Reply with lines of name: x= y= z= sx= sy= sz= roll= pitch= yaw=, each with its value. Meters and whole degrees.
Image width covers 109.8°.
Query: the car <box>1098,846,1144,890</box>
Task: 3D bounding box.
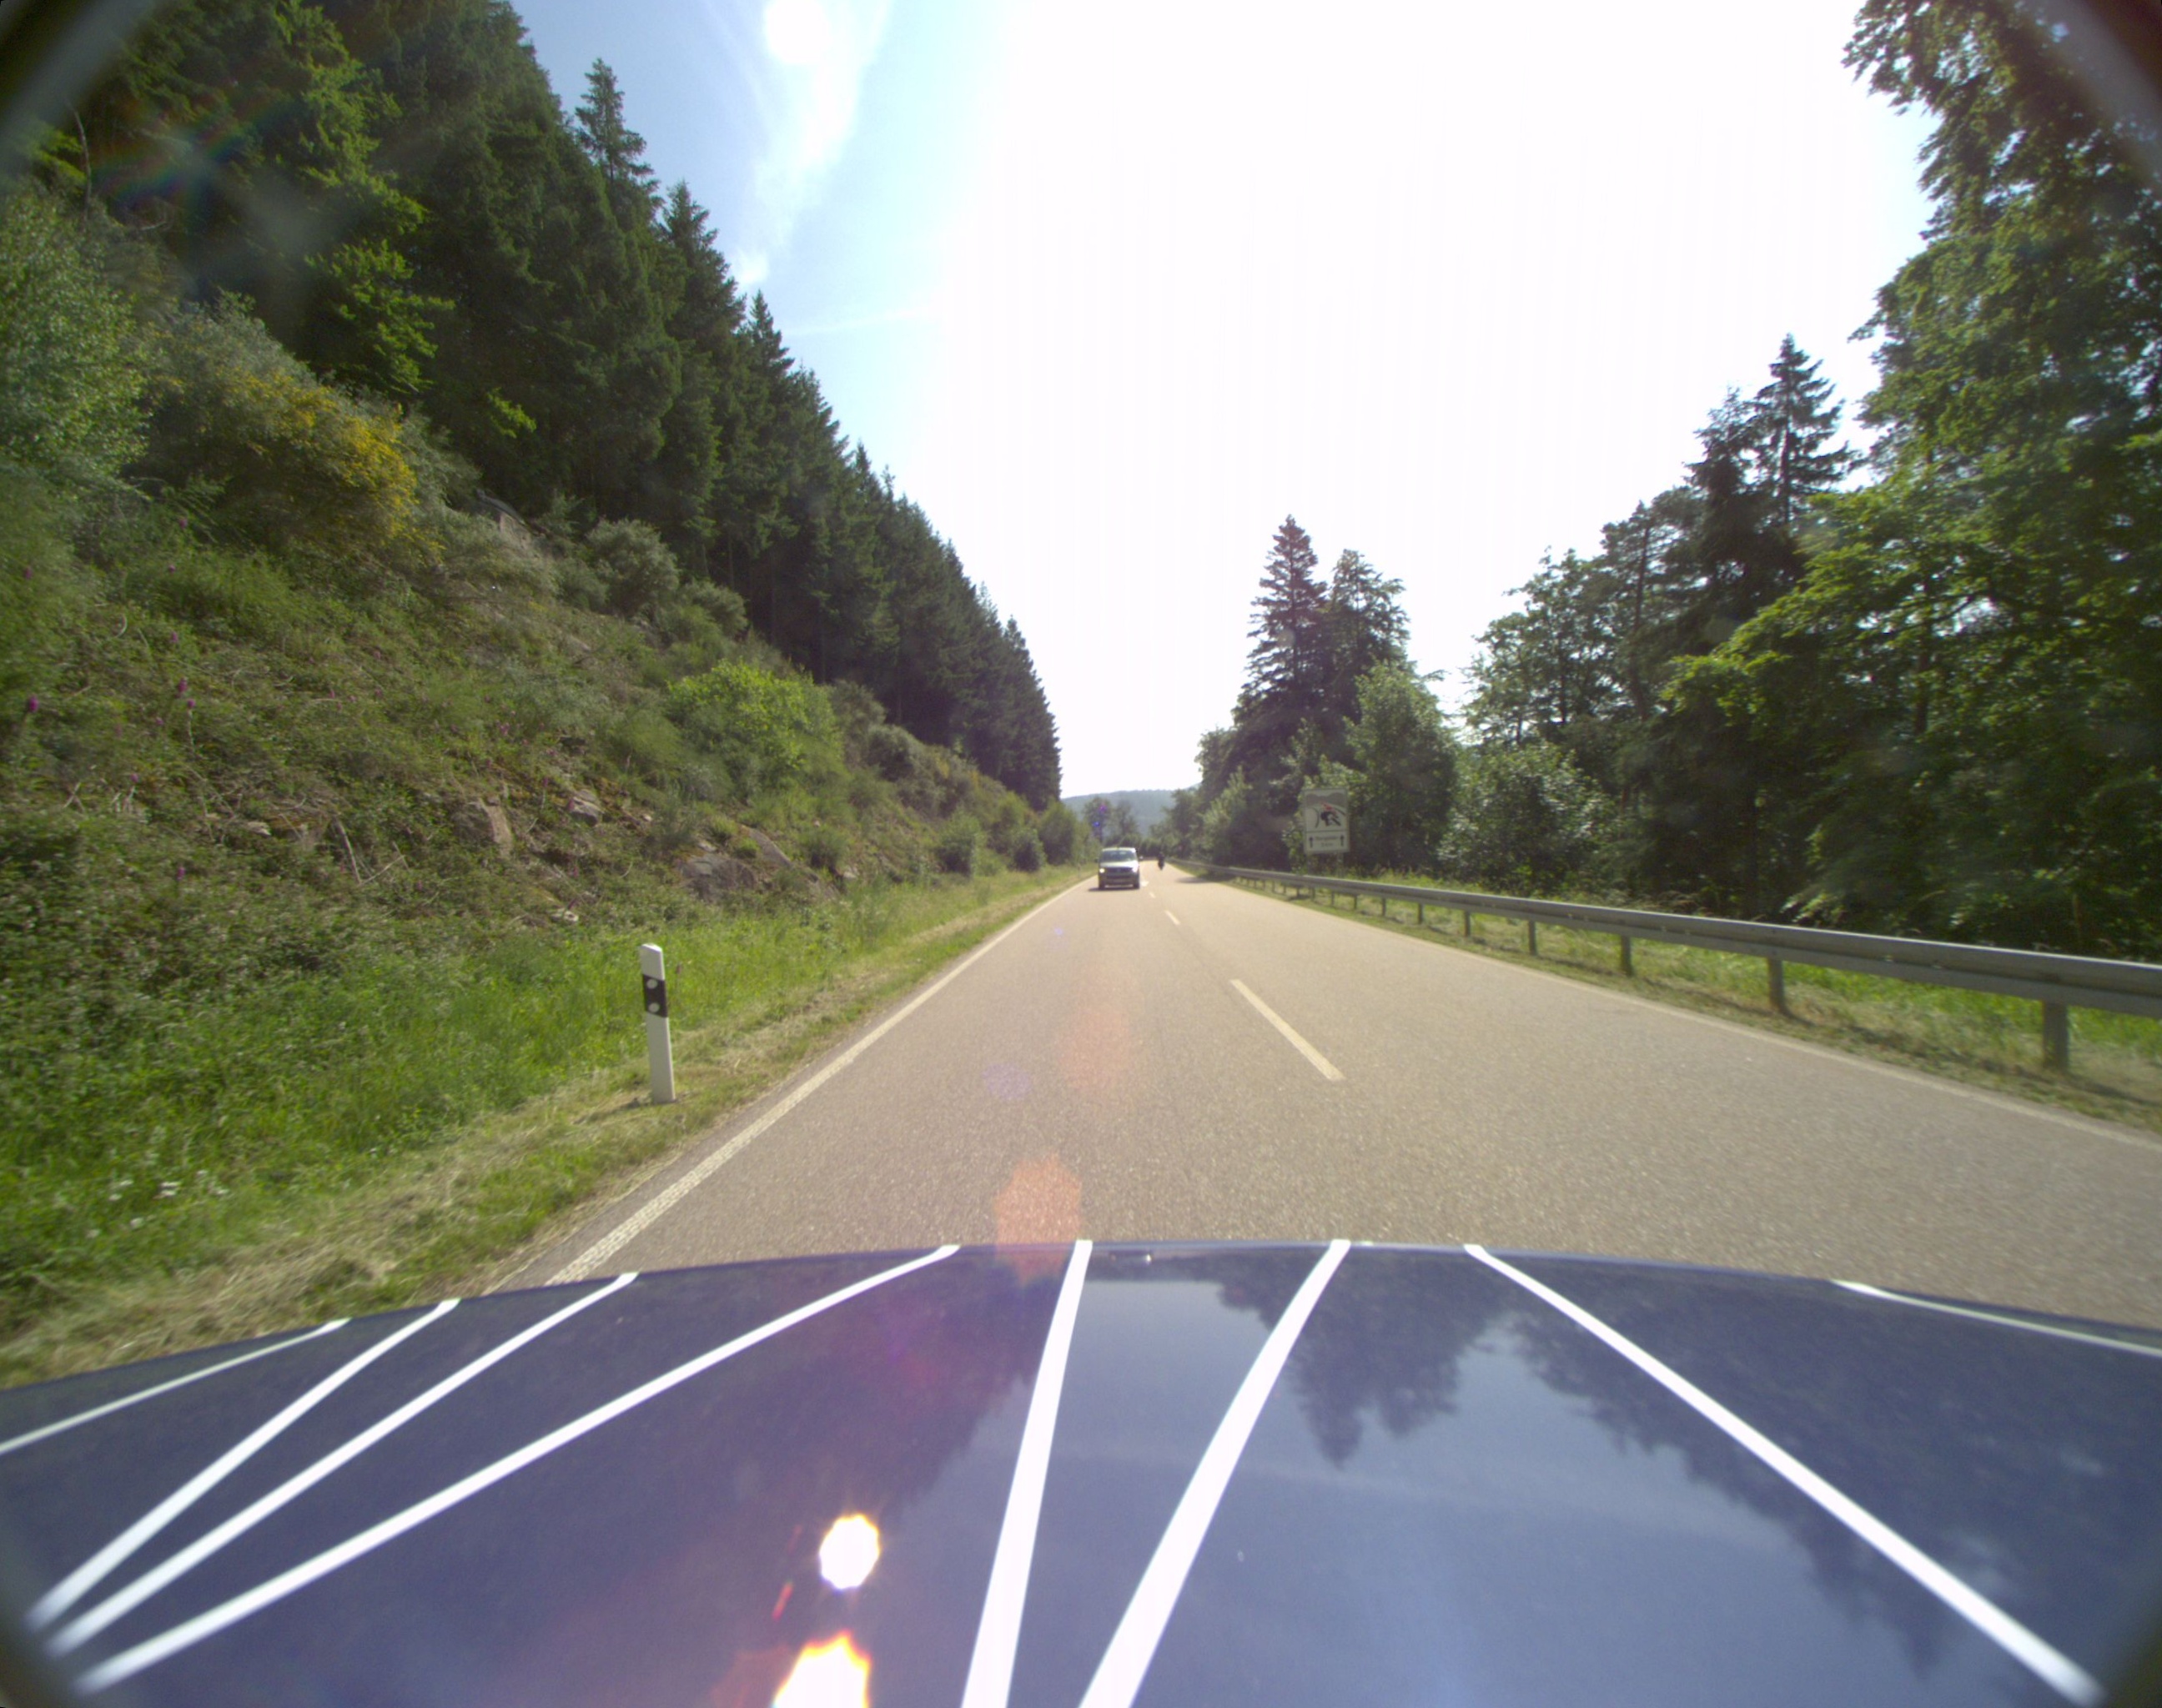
car: x=1.909 y=0.631 z=36.142 sx=1.990 sy=1.899 sz=4.761 roll=-2 pitch=0 yaw=3

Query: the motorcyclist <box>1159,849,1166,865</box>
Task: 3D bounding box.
motorcyclist: x=7.992 y=0.271 z=74.762 sx=0.659 sy=1.504 sz=0.934 roll=-1 pitch=0 yaw=5

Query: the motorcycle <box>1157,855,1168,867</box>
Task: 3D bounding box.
motorcycle: x=8.036 y=0.665 z=74.654 sx=0.986 sy=1.065 sz=1.963 roll=-2 pitch=0 yaw=5
